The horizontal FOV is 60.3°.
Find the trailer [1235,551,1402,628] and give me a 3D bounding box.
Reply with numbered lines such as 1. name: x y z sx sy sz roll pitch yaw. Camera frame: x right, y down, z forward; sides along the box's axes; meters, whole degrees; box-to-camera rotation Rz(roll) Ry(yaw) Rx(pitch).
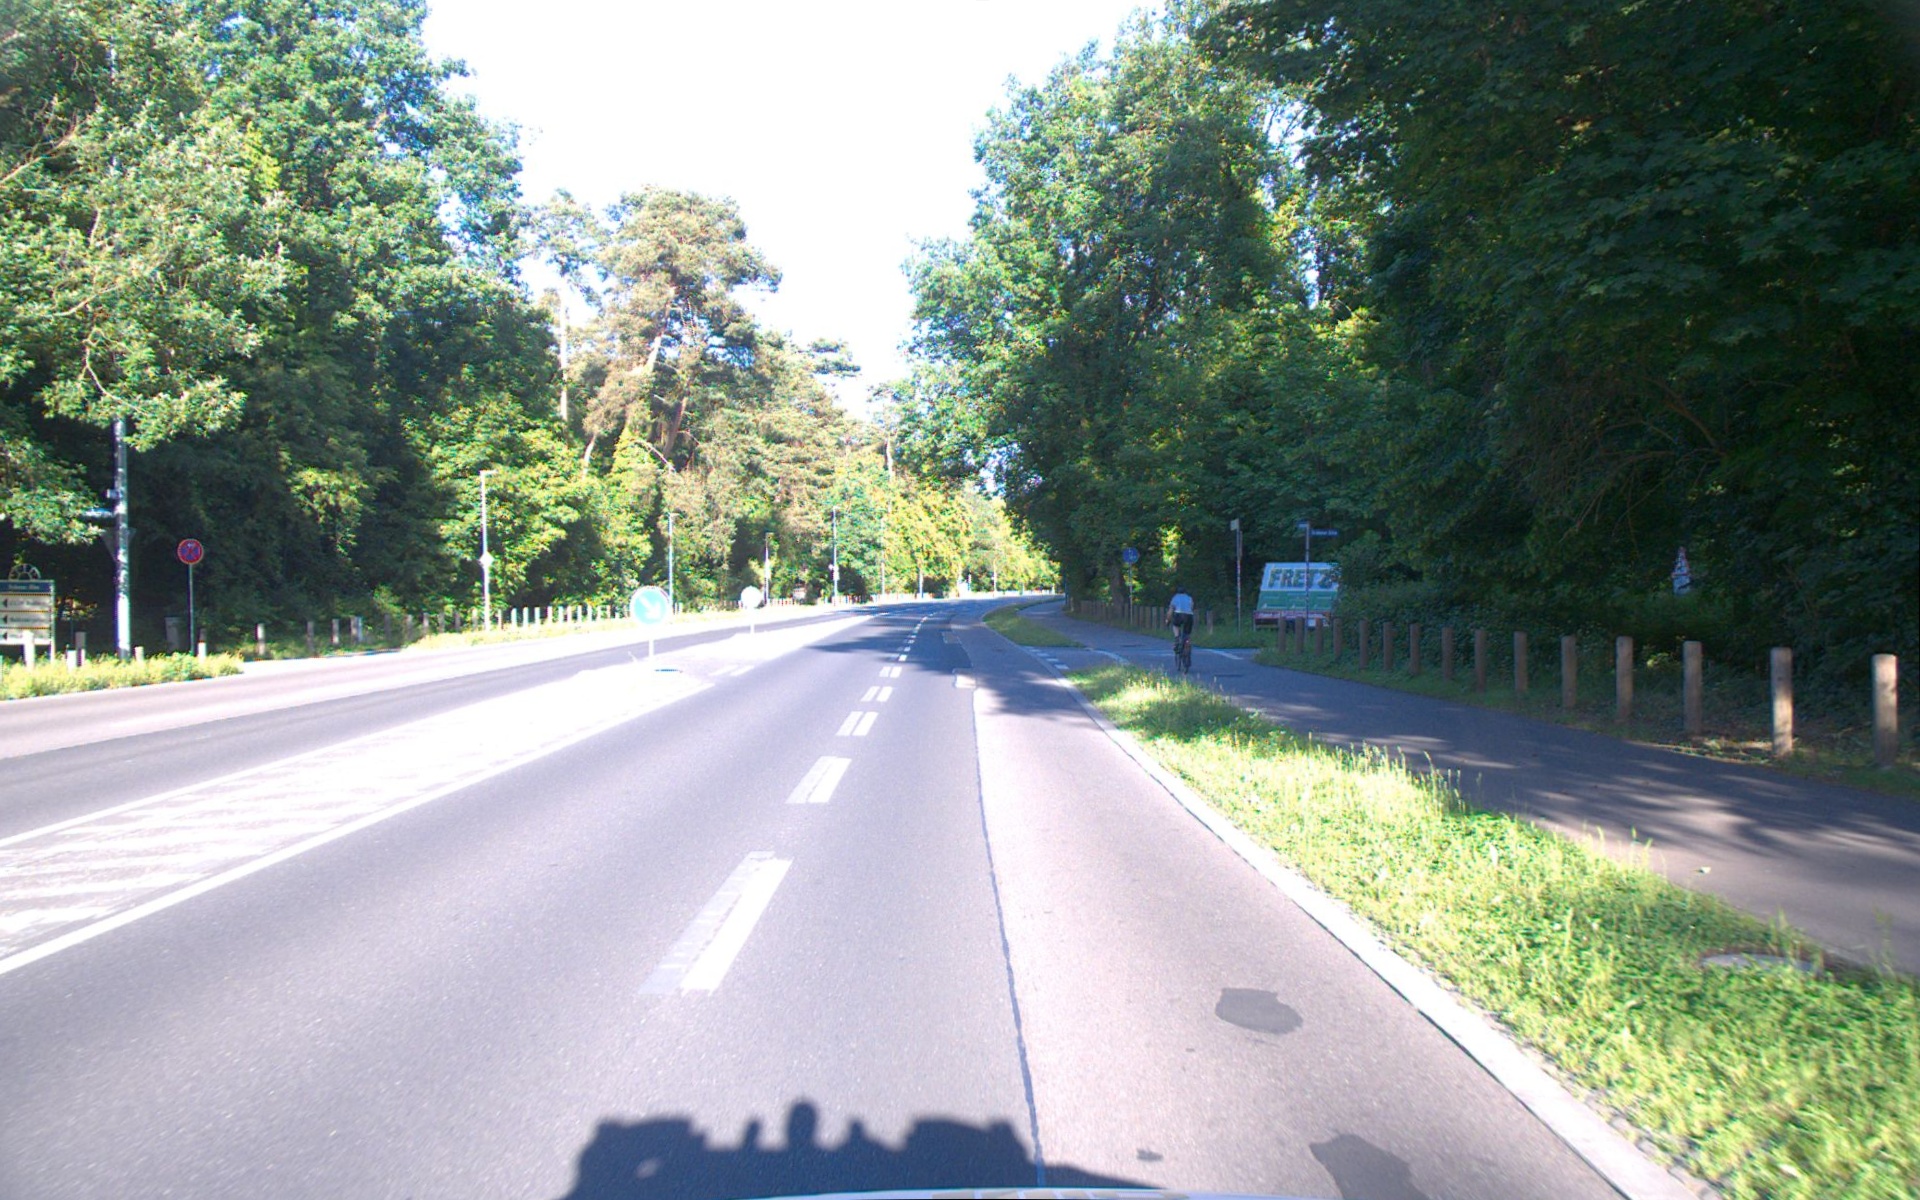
1. trailer: 10.026 -0.280 46.360 4.149 2.057 1.989 -1 0 40

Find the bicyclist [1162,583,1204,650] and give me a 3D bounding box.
1. bicyclist: 4.455 0.325 33.072 0.697 1.311 1.104 0 0 0

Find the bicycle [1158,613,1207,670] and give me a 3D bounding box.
1. bicycle: 4.452 0.813 33.148 0.697 1.074 2.053 0 0 0
